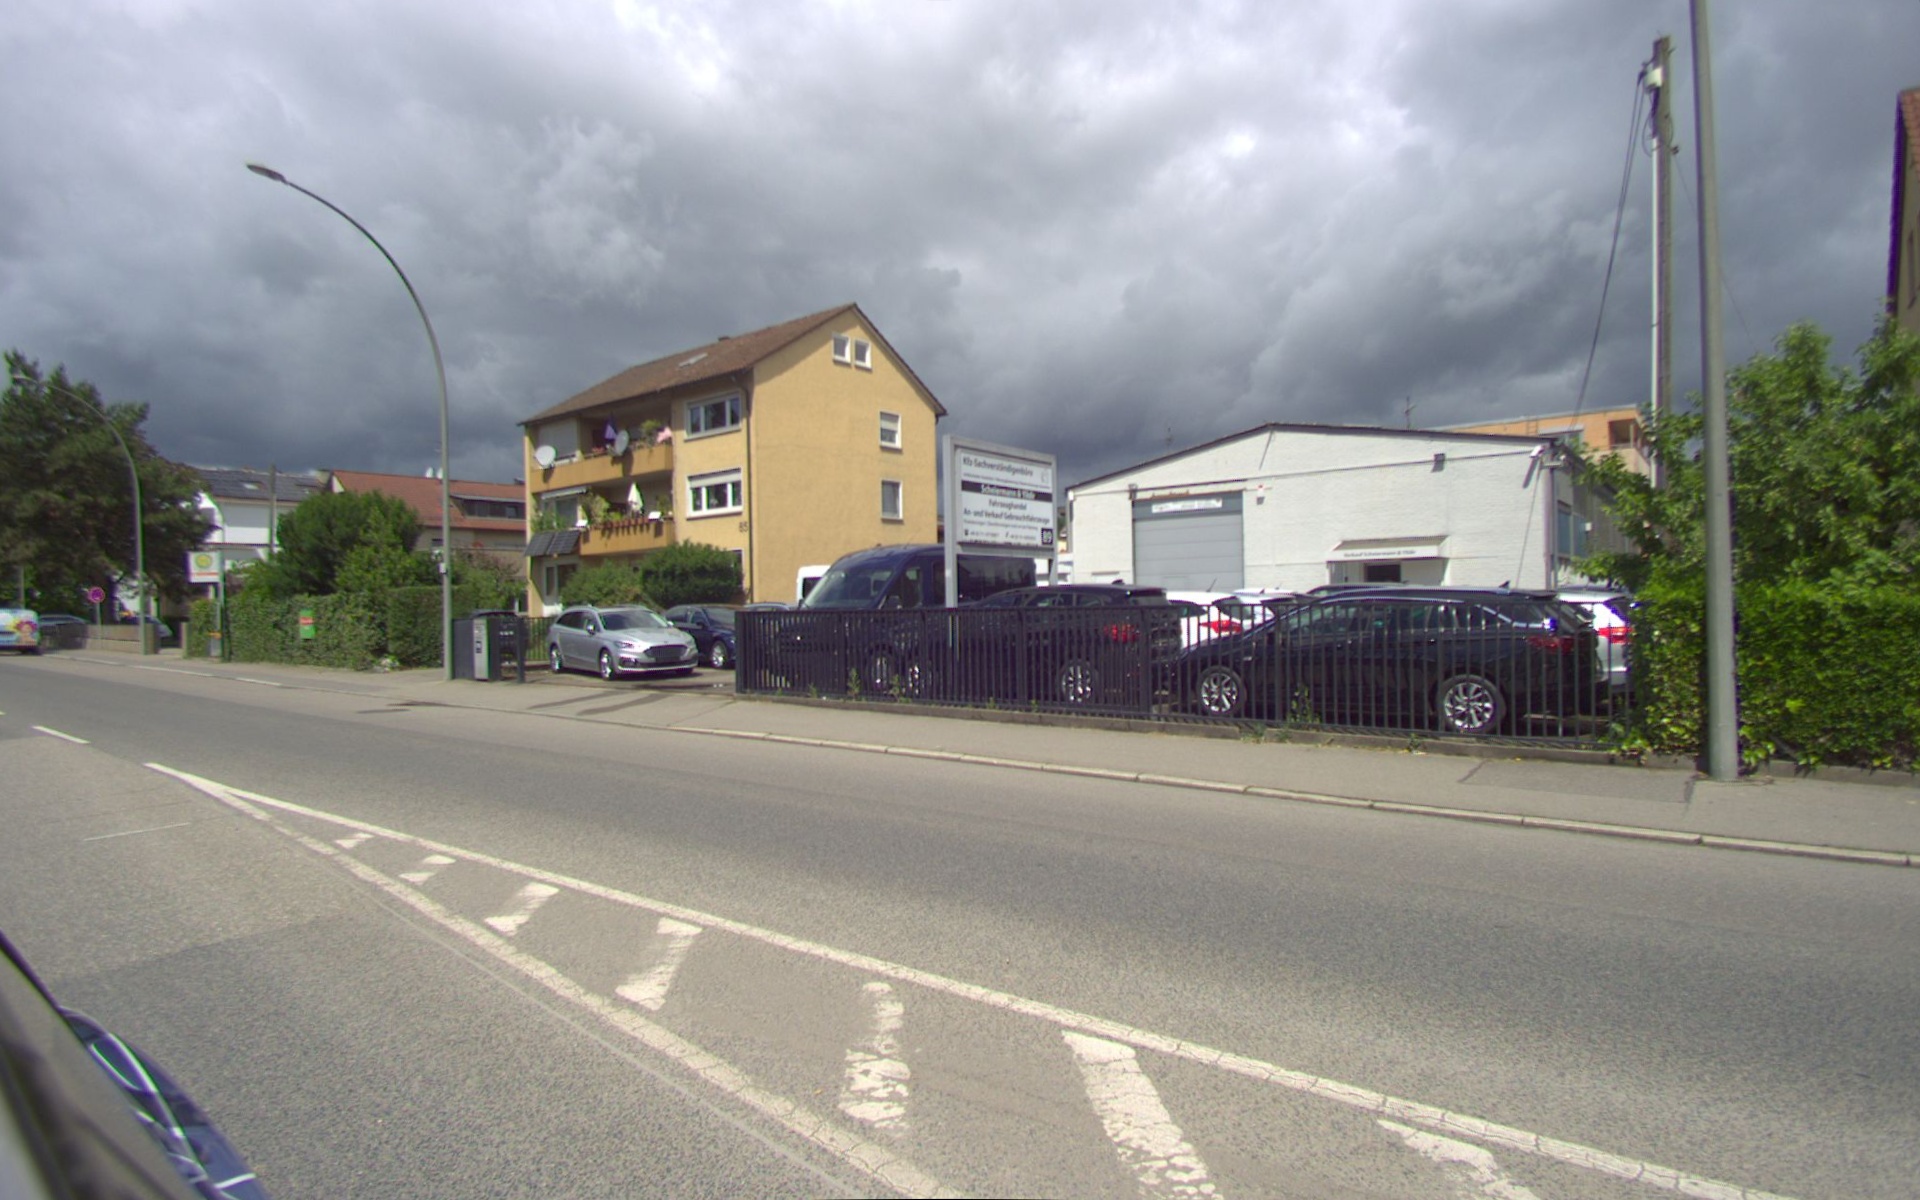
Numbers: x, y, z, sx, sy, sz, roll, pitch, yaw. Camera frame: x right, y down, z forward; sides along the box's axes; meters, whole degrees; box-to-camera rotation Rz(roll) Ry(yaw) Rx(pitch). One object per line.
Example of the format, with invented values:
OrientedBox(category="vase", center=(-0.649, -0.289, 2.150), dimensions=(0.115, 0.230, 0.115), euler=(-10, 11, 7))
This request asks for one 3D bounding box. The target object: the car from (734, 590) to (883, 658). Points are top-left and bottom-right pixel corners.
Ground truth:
OrientedBox(category="car", center=(-3.958, 0.601, 25.906), dimensions=(1.821, 1.589, 4.338), euler=(0, -1, -39))

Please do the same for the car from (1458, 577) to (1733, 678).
OrientedBox(category="car", center=(11.295, 0.483, 18.180), dimensions=(3.990, 1.630, 1.761), euler=(-1, -1, 35))

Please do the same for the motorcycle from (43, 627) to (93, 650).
OrientedBox(category="motorcycle", center=(-46.816, 2.023, 53.139), dimensions=(1.845, 1.174, 0.827), euler=(0, -1, -34))

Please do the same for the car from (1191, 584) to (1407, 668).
OrientedBox(category="car", center=(7.109, 0.537, 21.352), dimensions=(3.990, 1.630, 1.761), euler=(-1, -1, 35))

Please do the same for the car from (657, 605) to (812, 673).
OrientedBox(category="car", center=(-5.400, 0.874, 23.855), dimensions=(1.821, 1.437, 4.338), euler=(0, -1, -39))

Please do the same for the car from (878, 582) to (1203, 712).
OrientedBox(category="car", center=(1.079, 0.623, 14.622), dimensions=(4.277, 1.607, 2.013), euler=(-1, -1, 37))

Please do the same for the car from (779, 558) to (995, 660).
OrientedBox(category="car", center=(-2.133, 0.295, 27.889), dimensions=(6.134, 2.514, 2.386), euler=(-1, -3, 43))

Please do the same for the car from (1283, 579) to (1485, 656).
OrientedBox(category="car", center=(9.669, 0.403, 23.179), dimensions=(3.990, 1.630, 1.761), euler=(-1, -1, 35))

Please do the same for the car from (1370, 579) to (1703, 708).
OrientedBox(category="car", center=(8.263, 0.584, 14.660), dimensions=(3.994, 1.630, 1.759), euler=(-1, -1, 38))

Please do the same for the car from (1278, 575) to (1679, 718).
OrientedBox(category="car", center=(6.533, 0.534, 12.928), dimensions=(4.260, 1.518, 2.134), euler=(-1, -1, 37))

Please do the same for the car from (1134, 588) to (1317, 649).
OrientedBox(category="car", center=(8.046, 0.562, 30.913), dimensions=(4.998, 1.726, 2.030), euler=(-1, -1, 37))

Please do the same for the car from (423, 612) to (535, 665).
OrientedBox(category="car", center=(-14.403, 1.107, 30.177), dimensions=(1.823, 1.437, 4.335), euler=(0, -1, -43))

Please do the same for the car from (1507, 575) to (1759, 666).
OrientedBox(category="car", center=(13.210, 0.407, 20.089), dimensions=(3.990, 1.630, 1.761), euler=(-1, -1, 35))

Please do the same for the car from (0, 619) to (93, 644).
OrientedBox(category="car", center=(-60.766, 2.056, 66.875), dimensions=(1.970, 1.563, 4.960), euler=(-1, 0, 38))

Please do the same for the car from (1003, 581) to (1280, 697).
OrientedBox(category="car", center=(2.833, 0.587, 16.133), dimensions=(3.990, 1.630, 1.761), euler=(-1, -1, 35))

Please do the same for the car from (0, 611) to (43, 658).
OrientedBox(category="car", center=(-39.555, 1.446, 41.732), dimensions=(4.891, 1.868, 1.815), euler=(-2, -5, 40))

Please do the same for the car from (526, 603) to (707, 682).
OrientedBox(category="car", center=(-7.590, 0.854, 21.983), dimensions=(1.968, 1.497, 5.349), euler=(0, -1, -40))

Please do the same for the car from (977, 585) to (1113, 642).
OrientedBox(category="car", center=(2.813, 0.462, 34.140), dimensions=(4.328, 1.805, 1.826), euler=(-1, -1, 41))

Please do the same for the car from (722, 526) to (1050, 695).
OrientedBox(category="car", center=(-1.090, 0.188, 18.223), dimensions=(2.475, 2.515, 5.977), euler=(-1, -1, 39))

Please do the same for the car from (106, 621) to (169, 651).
OrientedBox(category="car", center=(-45.745, 1.980, 56.273), dimensions=(4.079, 1.555, 1.751), euler=(-1, -1, 36))

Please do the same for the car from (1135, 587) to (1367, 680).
OrientedBox(category="car", center=(5.595, 0.624, 19.631), dimensions=(3.990, 1.630, 1.761), euler=(-1, -1, 35))

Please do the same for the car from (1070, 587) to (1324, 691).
OrientedBox(category="car", center=(4.114, 0.653, 17.804), dimensions=(3.990, 1.630, 1.761), euler=(-1, -1, 35))

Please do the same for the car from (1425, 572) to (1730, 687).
OrientedBox(category="car", center=(9.828, 0.458, 16.256), dimensions=(3.994, 1.630, 1.759), euler=(-1, -1, 38))

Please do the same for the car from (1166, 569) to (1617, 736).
OrientedBox(category="car", center=(4.738, 0.519, 11.339), dimensions=(4.260, 1.518, 2.133), euler=(-1, -1, 37))
